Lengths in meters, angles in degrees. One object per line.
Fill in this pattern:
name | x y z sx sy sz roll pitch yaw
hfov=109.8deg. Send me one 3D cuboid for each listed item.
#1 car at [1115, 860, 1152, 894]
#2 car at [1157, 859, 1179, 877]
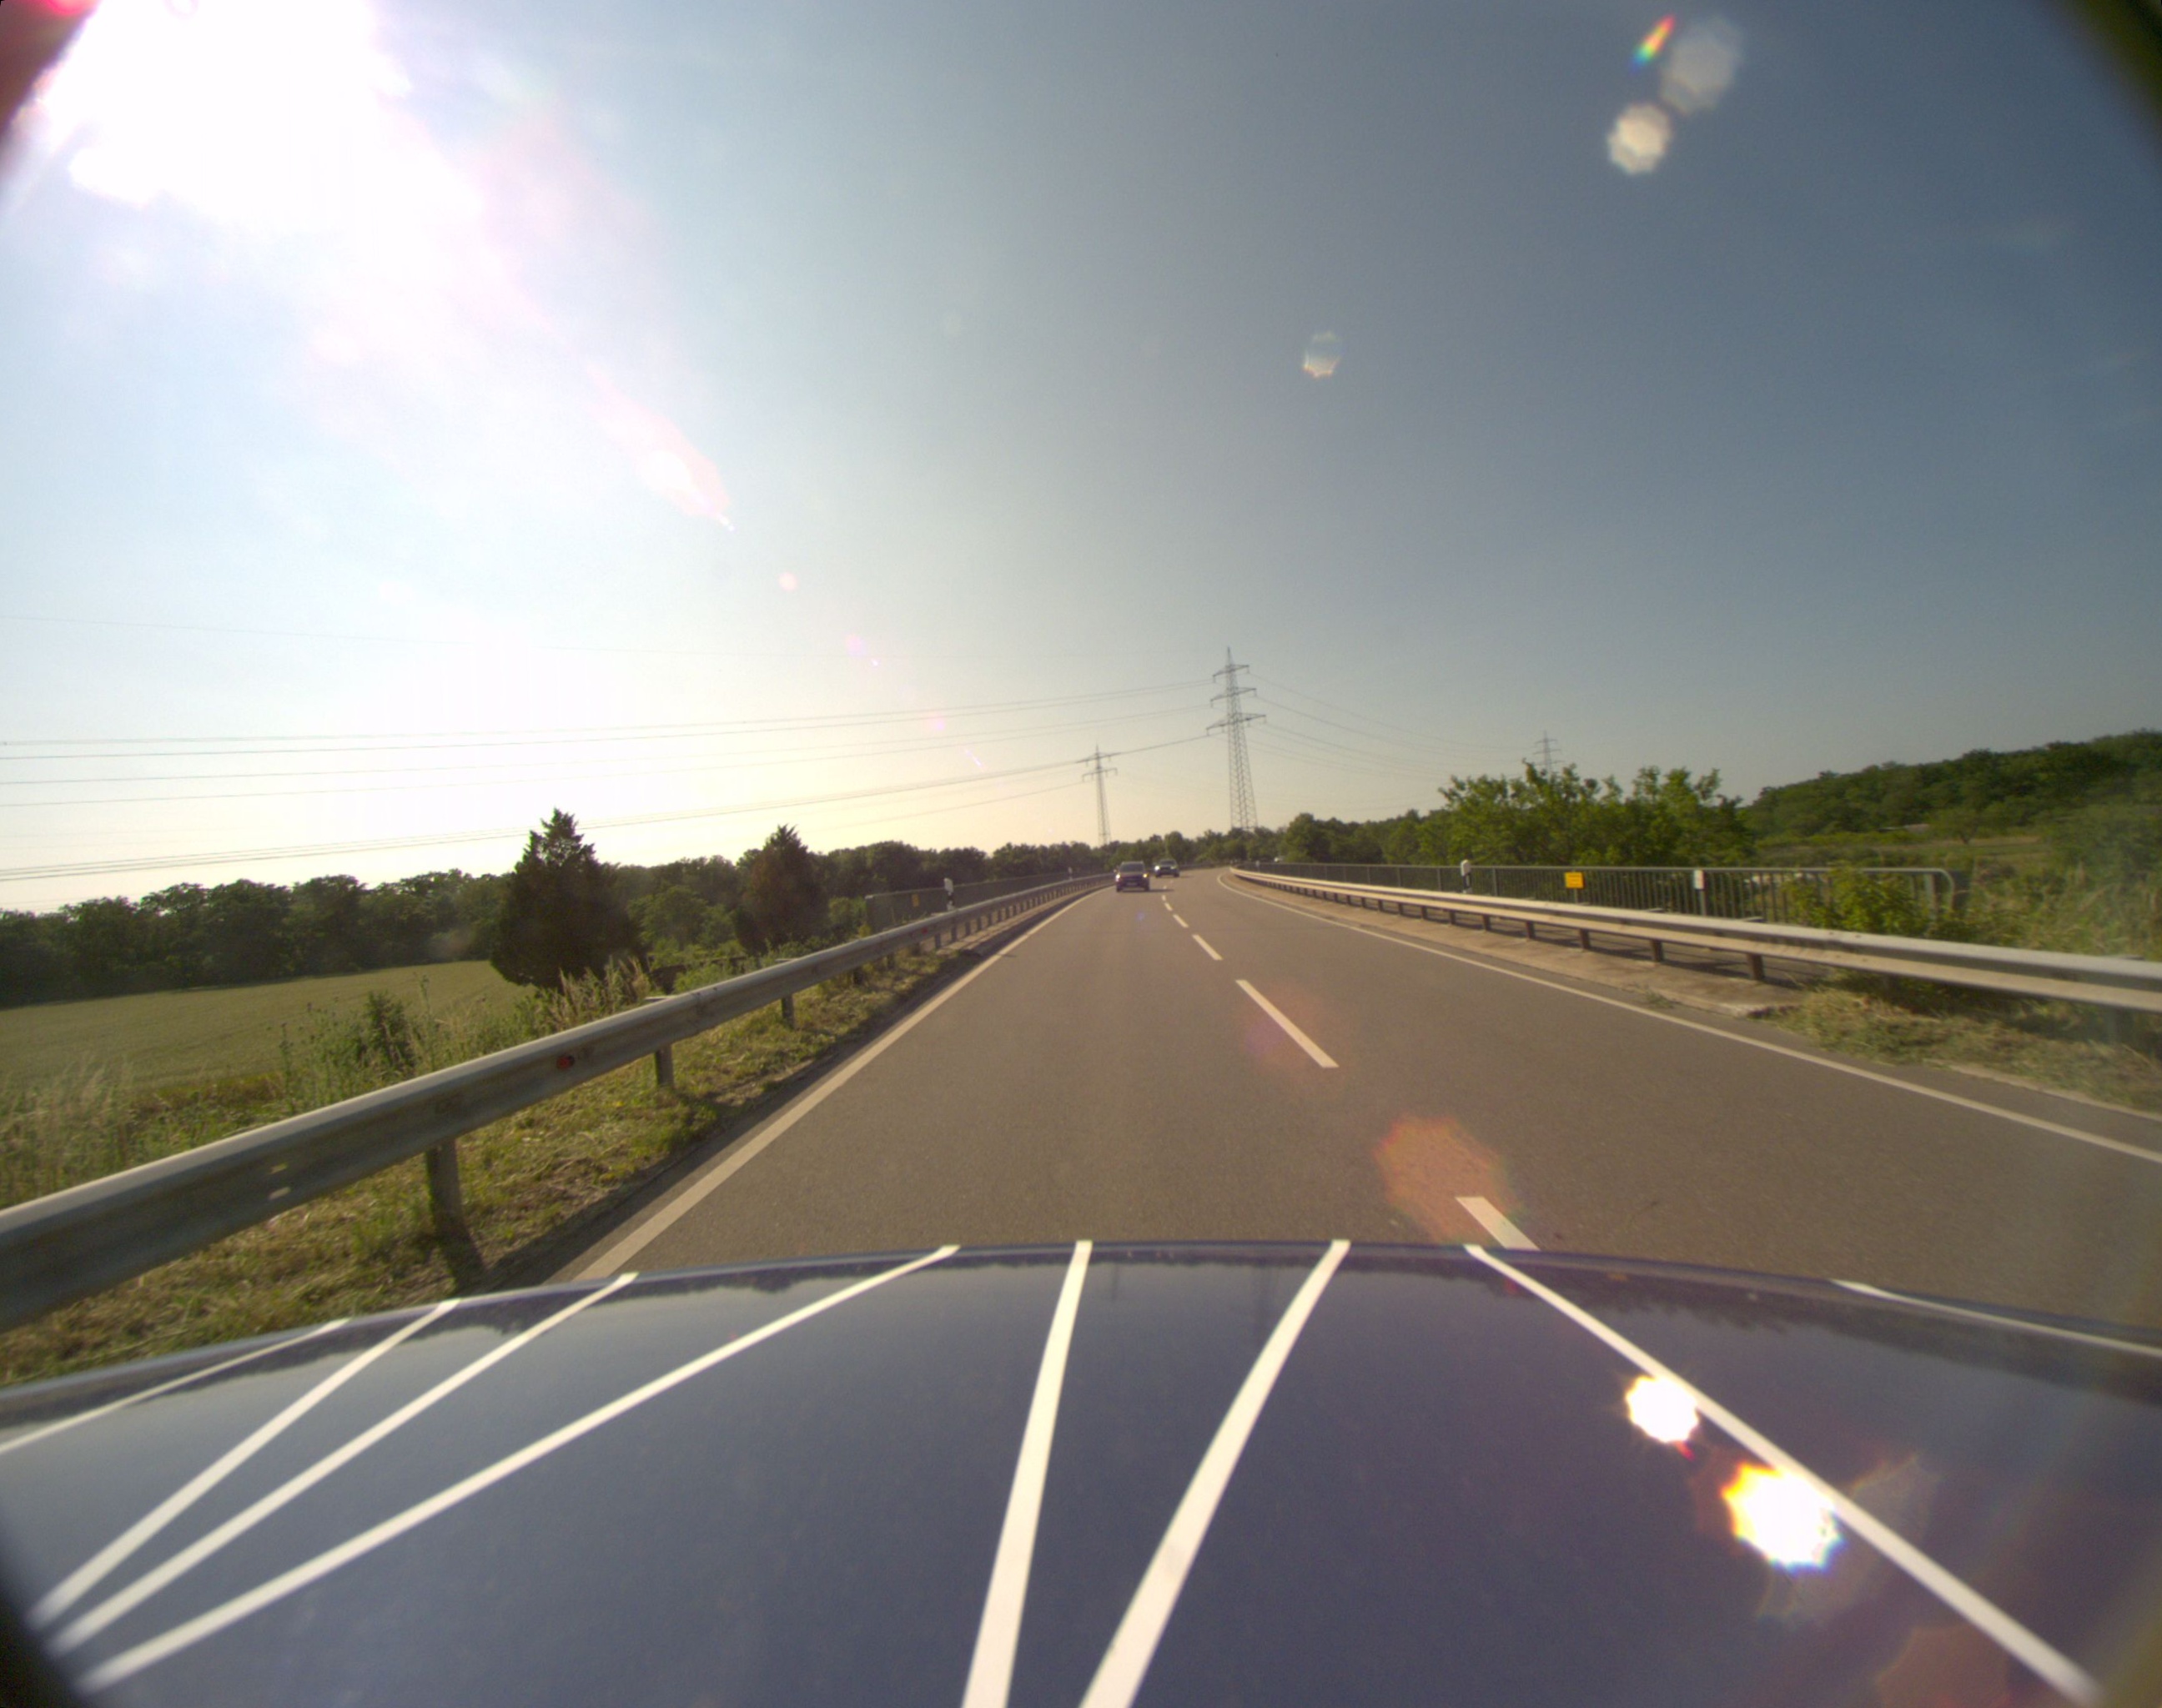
car | 2.772 1.149 39.401 1.606 1.486 4.002 -3 0 7
car | 7.992 1.264 69.343 1.605 1.486 4.003 -3 0 11
